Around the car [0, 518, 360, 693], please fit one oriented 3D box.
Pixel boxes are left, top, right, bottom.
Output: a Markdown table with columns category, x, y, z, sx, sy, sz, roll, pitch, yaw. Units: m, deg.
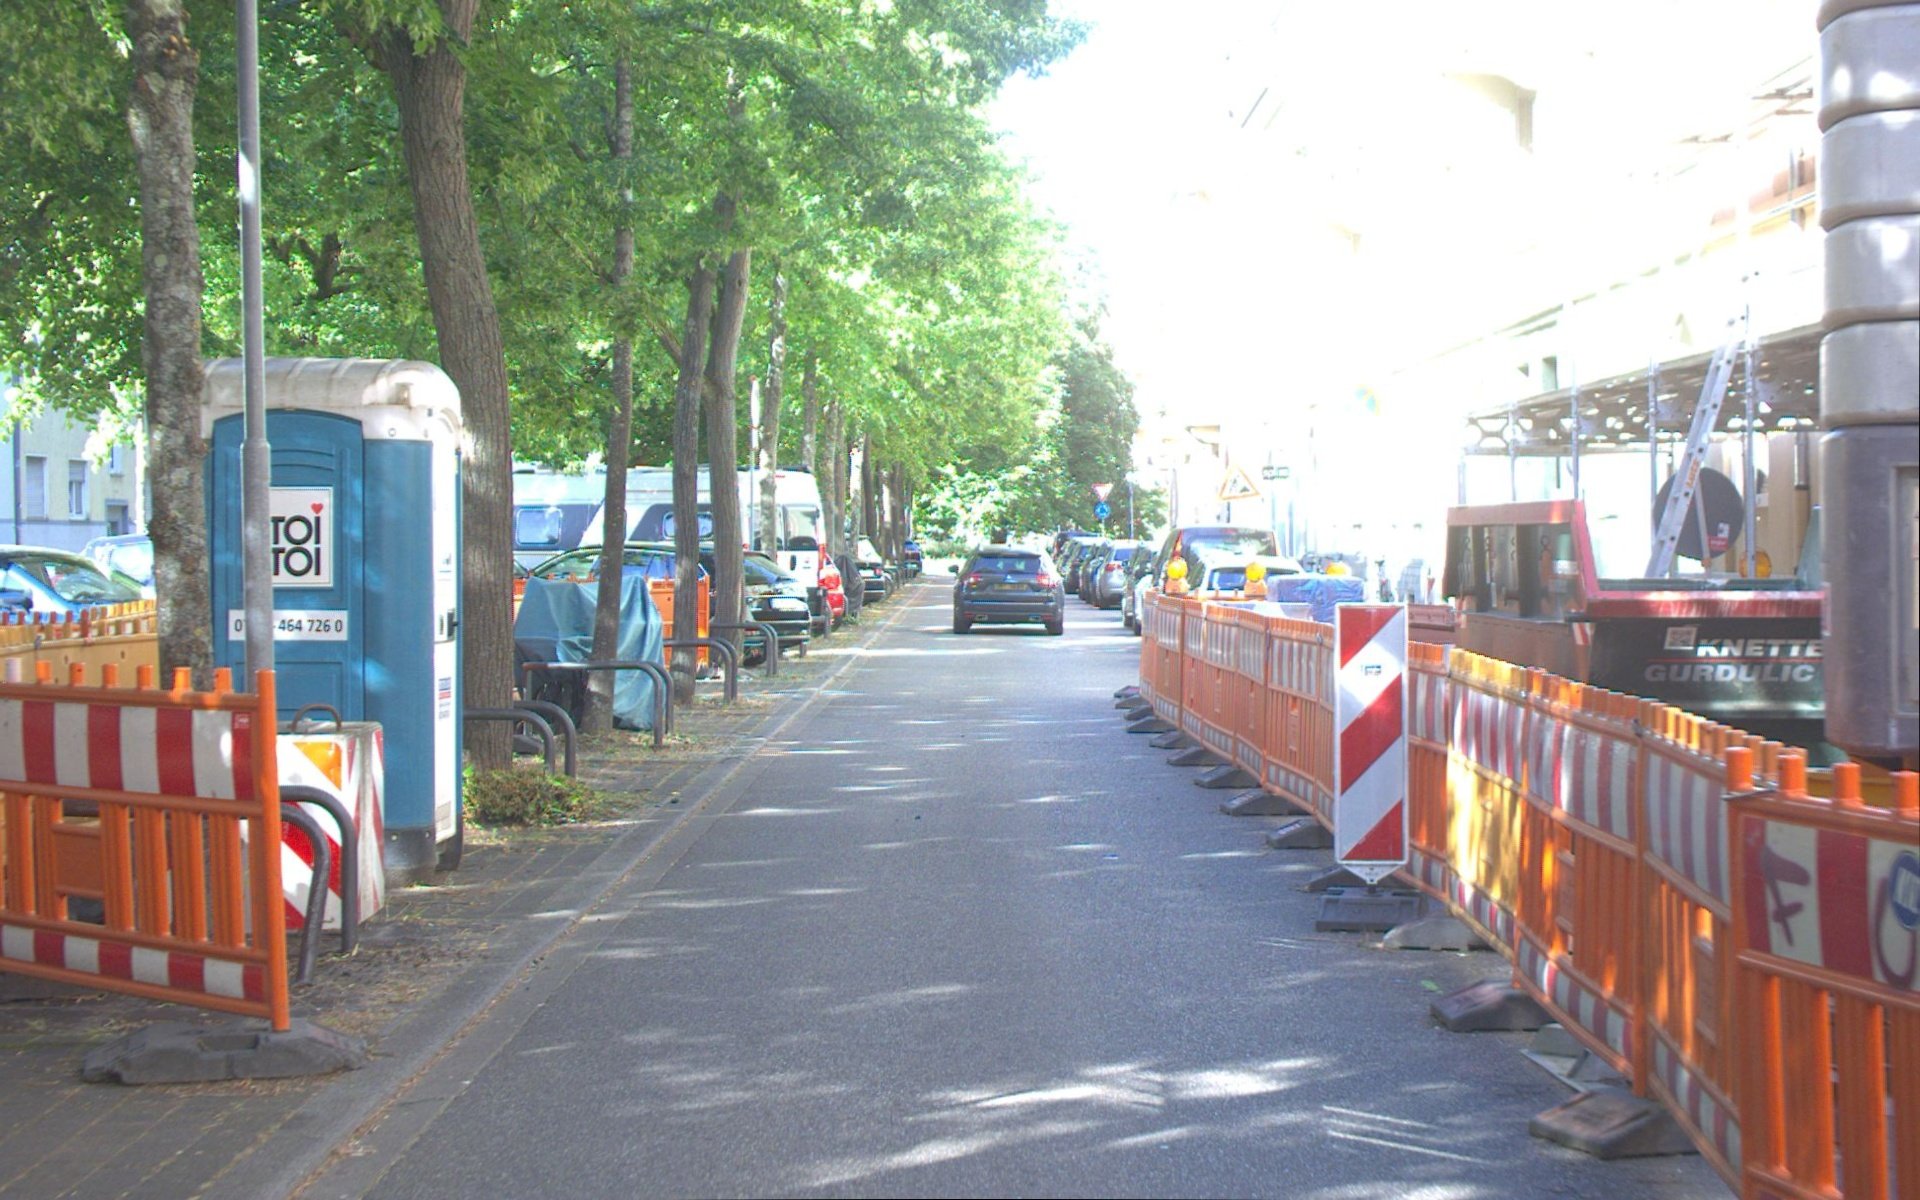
| category | x | y | z | sx | sy | sz | roll | pitch | yaw |
| --- | --- | --- | --- | --- | --- | --- | --- | --- | --- |
| car | -8.069 | 0.051 | 33.453 | 4.125 | 1.620 | 1.696 | 0 | 1 | 24 |

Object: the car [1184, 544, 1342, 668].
| category | x | y | z | sx | sy | sz | roll | pitch | yaw |
| --- | --- | --- | --- | --- | --- | --- | --- | --- | --- |
| car | 3.862 | 0.042 | 44.366 | 1.704 | 1.506 | 4.284 | -1 | 1 | 1 |

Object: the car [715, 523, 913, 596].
| category | x | y | z | sx | sy | sz | roll | pitch | yaw |
| --- | --- | --- | --- | --- | --- | --- | --- | --- | --- |
| car | -3.091 | -0.849 | 72.345 | 4.015 | 1.469 | 1.623 | 0 | 1 | 36 |

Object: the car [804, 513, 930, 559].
| category | x | y | z | sx | sy | sz | roll | pitch | yaw |
| --- | --- | --- | --- | --- | --- | --- | --- | --- | --- |
| car | -3.249 | -2.214 | 119.955 | 4.087 | 1.461 | 1.867 | 1 | 0 | -13 |

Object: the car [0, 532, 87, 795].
| category | x | y | z | sx | sy | sz | roll | pitch | yaw |
| --- | --- | --- | --- | --- | --- | --- | --- | --- | --- |
| car | -7.295 | 0.379 | 20.765 | 3.995 | 1.514 | 1.667 | 0 | 1 | 34 |

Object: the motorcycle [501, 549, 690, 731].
| category | x | y | z | sx | sy | sz | roll | pitch | yaw |
| --- | --- | --- | --- | --- | --- | --- | --- | --- | --- |
| motorcycle | -2.758 | 0.281 | 26.259 | 0.631 | 1.320 | 2.227 | 1 | 1 | 16 |

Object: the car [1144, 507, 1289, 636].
| category | x | y | z | sx | sy | sz | roll | pitch | yaw |
| --- | --- | --- | --- | --- | --- | --- | --- | --- | --- |
| car | 3.694 | -0.438 | 50.086 | 1.771 | 1.787 | 3.990 | -1 | 1 | -1 |

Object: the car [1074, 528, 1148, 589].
| category | x | y | z | sx | sy | sz | roll | pitch | yaw |
| --- | --- | --- | --- | --- | --- | --- | --- | --- | --- |
| car | 3.780 | -1.054 | 86.568 | 1.692 | 1.463 | 4.005 | 1 | 1 | 1 |

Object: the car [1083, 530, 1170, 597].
| category | x | y | z | sx | sy | sz | roll | pitch | yaw |
| --- | --- | --- | --- | --- | --- | --- | --- | --- | --- |
| car | 3.683 | -0.824 | 76.480 | 1.770 | 1.426 | 4.291 | -1 | 1 | 1 |

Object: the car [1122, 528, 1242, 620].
| category | x | y | z | sx | sy | sz | roll | pitch | yaw |
| --- | --- | --- | --- | --- | --- | --- | --- | --- | --- |
| car | 3.563 | -0.447 | 55.822 | 1.607 | 1.415 | 4.569 | -1 | 1 | -1 |

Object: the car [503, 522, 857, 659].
| category | x | y | z | sx | sy | sz | roll | pitch | yaw |
| --- | --- | --- | --- | --- | --- | --- | --- | --- | --- |
| car | -3.401 | -0.137 | 41.503 | 4.095 | 1.520 | 1.699 | 0 | 3 | 36 |

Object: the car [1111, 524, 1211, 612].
| category | x | y | z | sx | sy | sz | roll | pitch | yaw |
| --- | --- | --- | --- | --- | --- | --- | --- | --- | --- |
| car | 3.509 | -0.584 | 60.445 | 1.599 | 1.487 | 3.967 | -1 | 1 | 1 |

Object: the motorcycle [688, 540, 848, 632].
| category | x | y | z | sx | sy | sz | roll | pitch | yaw |
| --- | --- | --- | --- | --- | --- | --- | --- | --- | --- |
| motorcycle | -2.912 | -0.224 | 51.950 | 2.318 | 1.330 | 0.969 | -1 | 1 | -8 |

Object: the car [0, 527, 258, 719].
| category | x | y | z | sx | sy | sz | roll | pitch | yaw |
| --- | --- | --- | --- | --- | --- | --- | --- | --- | --- |
| car | -7.726 | 0.162 | 27.457 | 3.904 | 1.456 | 1.576 | 0 | 1 | 21 |

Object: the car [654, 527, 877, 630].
| category | x | y | z | sx | sy | sz | roll | pitch | yaw |
| --- | --- | --- | --- | --- | --- | --- | --- | --- | --- |
| car | -3.216 | -0.360 | 56.196 | 1.659 | 1.612 | 3.879 | -2 | 1 | -39 |

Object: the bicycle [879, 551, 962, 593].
| category | x | y | z | sx | sy | sz | roll | pitch | yaw |
| --- | --- | --- | --- | --- | --- | --- | --- | --- | --- |
| bicycle | -0.911 | -0.641 | 79.217 | 1.900 | 0.916 | 0.379 | 2 | 1 | 20 |

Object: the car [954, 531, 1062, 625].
| category | x | y | z | sx | sy | sz | roll | pitch | yaw |
| --- | --- | --- | --- | --- | --- | --- | --- | --- | --- |
| car | 0.831 | -0.394 | 57.296 | 1.714 | 1.478 | 4.144 | -1 | 1 | 2 |

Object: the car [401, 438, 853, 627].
| category | x | y | z | sx | sy | sz | roll | pitch | yaw |
| --- | --- | --- | --- | --- | --- | --- | --- | --- | --- |
| car | -4.806 | -0.966 | 49.087 | 6.319 | 2.550 | 2.334 | 1 | 1 | 33 |

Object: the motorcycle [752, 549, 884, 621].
| category | x | y | z | sx | sy | sz | roll | pitch | yaw |
| --- | --- | --- | --- | --- | --- | --- | --- | --- | --- |
| motorcycle | -2.468 | -0.273 | 59.849 | 2.148 | 1.225 | 0.881 | 1 | 1 | 10 |
